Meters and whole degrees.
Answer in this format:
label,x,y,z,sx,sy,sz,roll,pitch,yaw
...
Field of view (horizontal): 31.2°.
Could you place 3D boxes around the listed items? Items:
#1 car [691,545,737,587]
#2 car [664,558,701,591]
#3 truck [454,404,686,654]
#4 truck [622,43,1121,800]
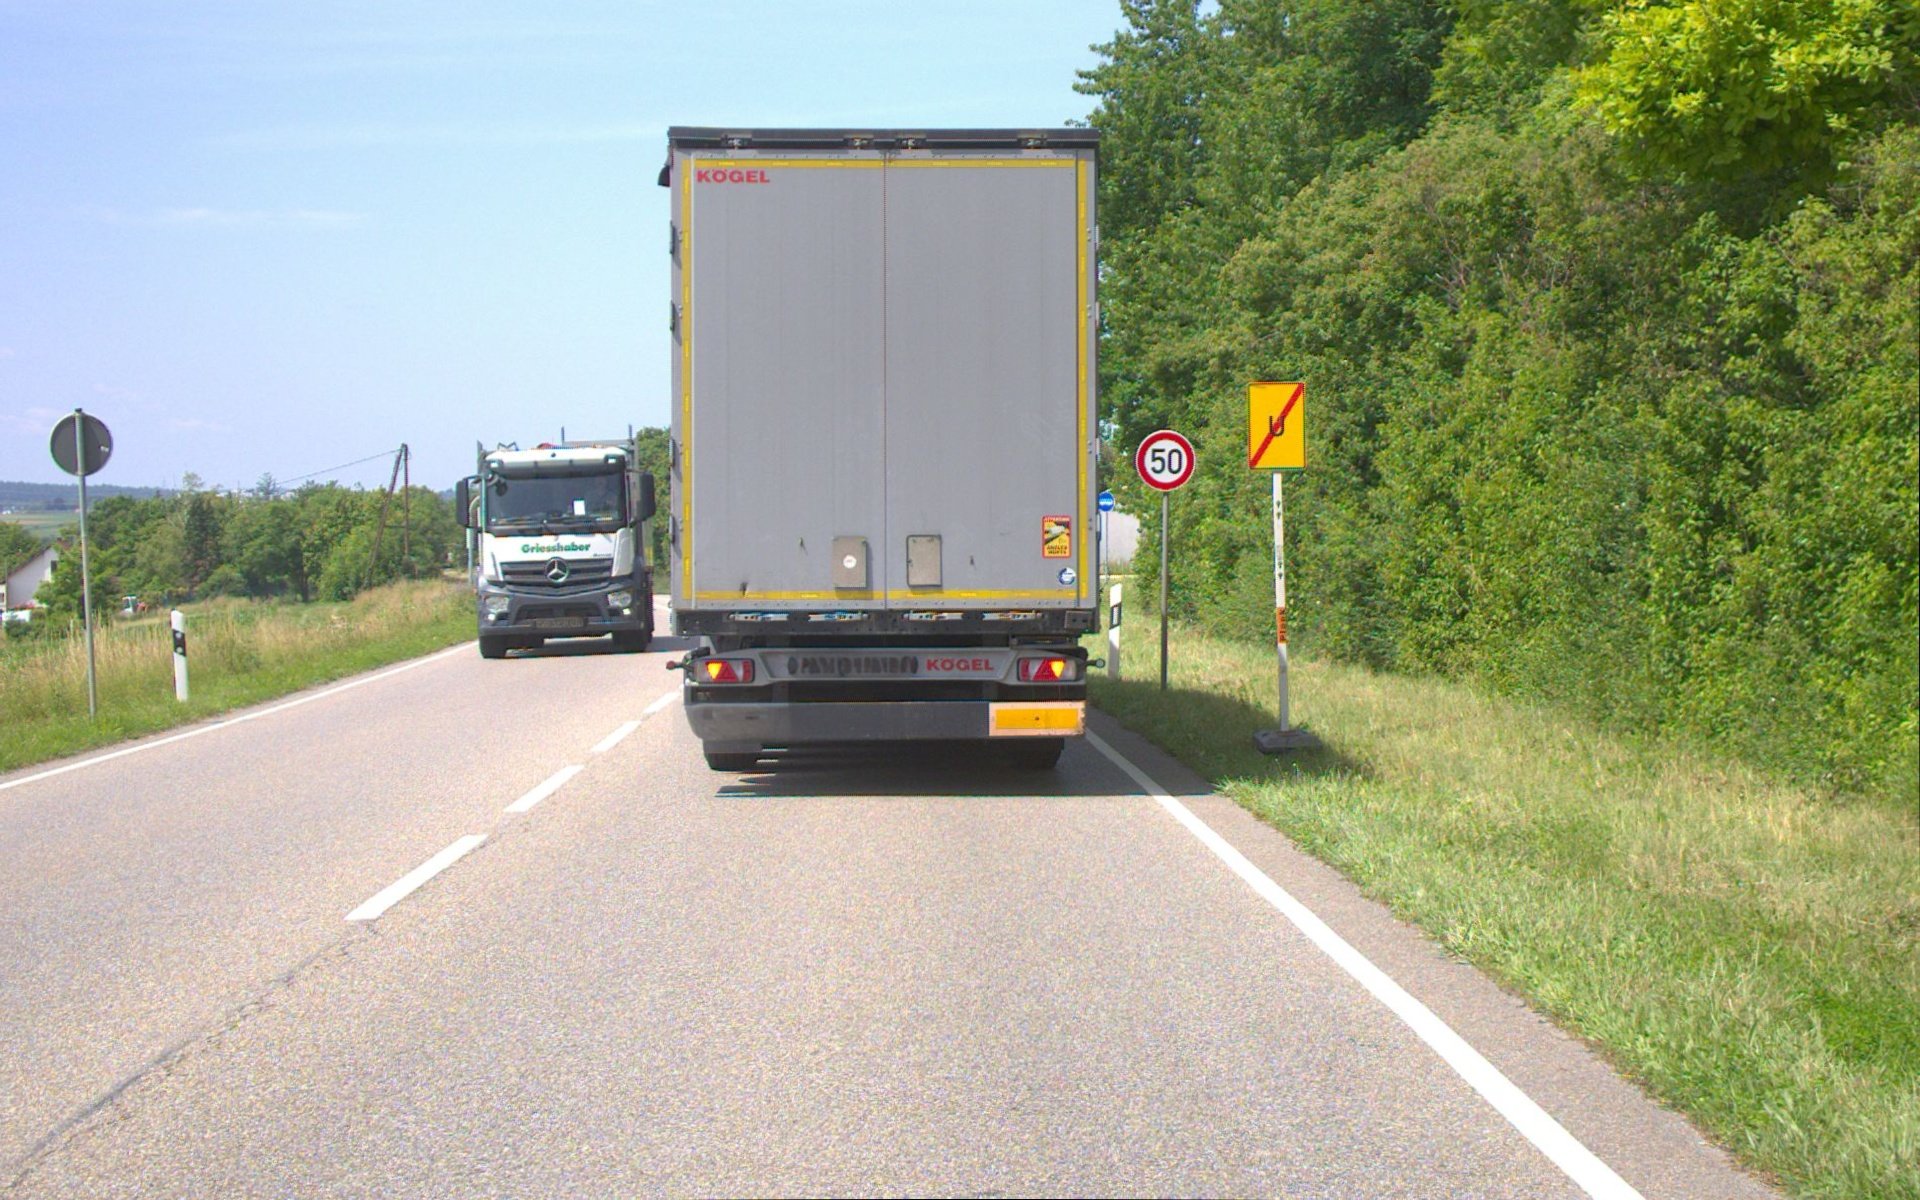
label,x,y,z,sx,sy,sz,roll,pitch,yaw
car,-12.684,-1.748,176.973,2.171,2.007,4.527,-3,1,-6
car,-15.581,-1.445,192.769,1.892,1.771,4.387,-3,1,-6
truck,-6.218,-1.127,56.517,2.756,3.564,11.066,-3,1,-2
truck,-0.796,-1.112,24.491,2.907,4.395,8.861,0,1,-4
